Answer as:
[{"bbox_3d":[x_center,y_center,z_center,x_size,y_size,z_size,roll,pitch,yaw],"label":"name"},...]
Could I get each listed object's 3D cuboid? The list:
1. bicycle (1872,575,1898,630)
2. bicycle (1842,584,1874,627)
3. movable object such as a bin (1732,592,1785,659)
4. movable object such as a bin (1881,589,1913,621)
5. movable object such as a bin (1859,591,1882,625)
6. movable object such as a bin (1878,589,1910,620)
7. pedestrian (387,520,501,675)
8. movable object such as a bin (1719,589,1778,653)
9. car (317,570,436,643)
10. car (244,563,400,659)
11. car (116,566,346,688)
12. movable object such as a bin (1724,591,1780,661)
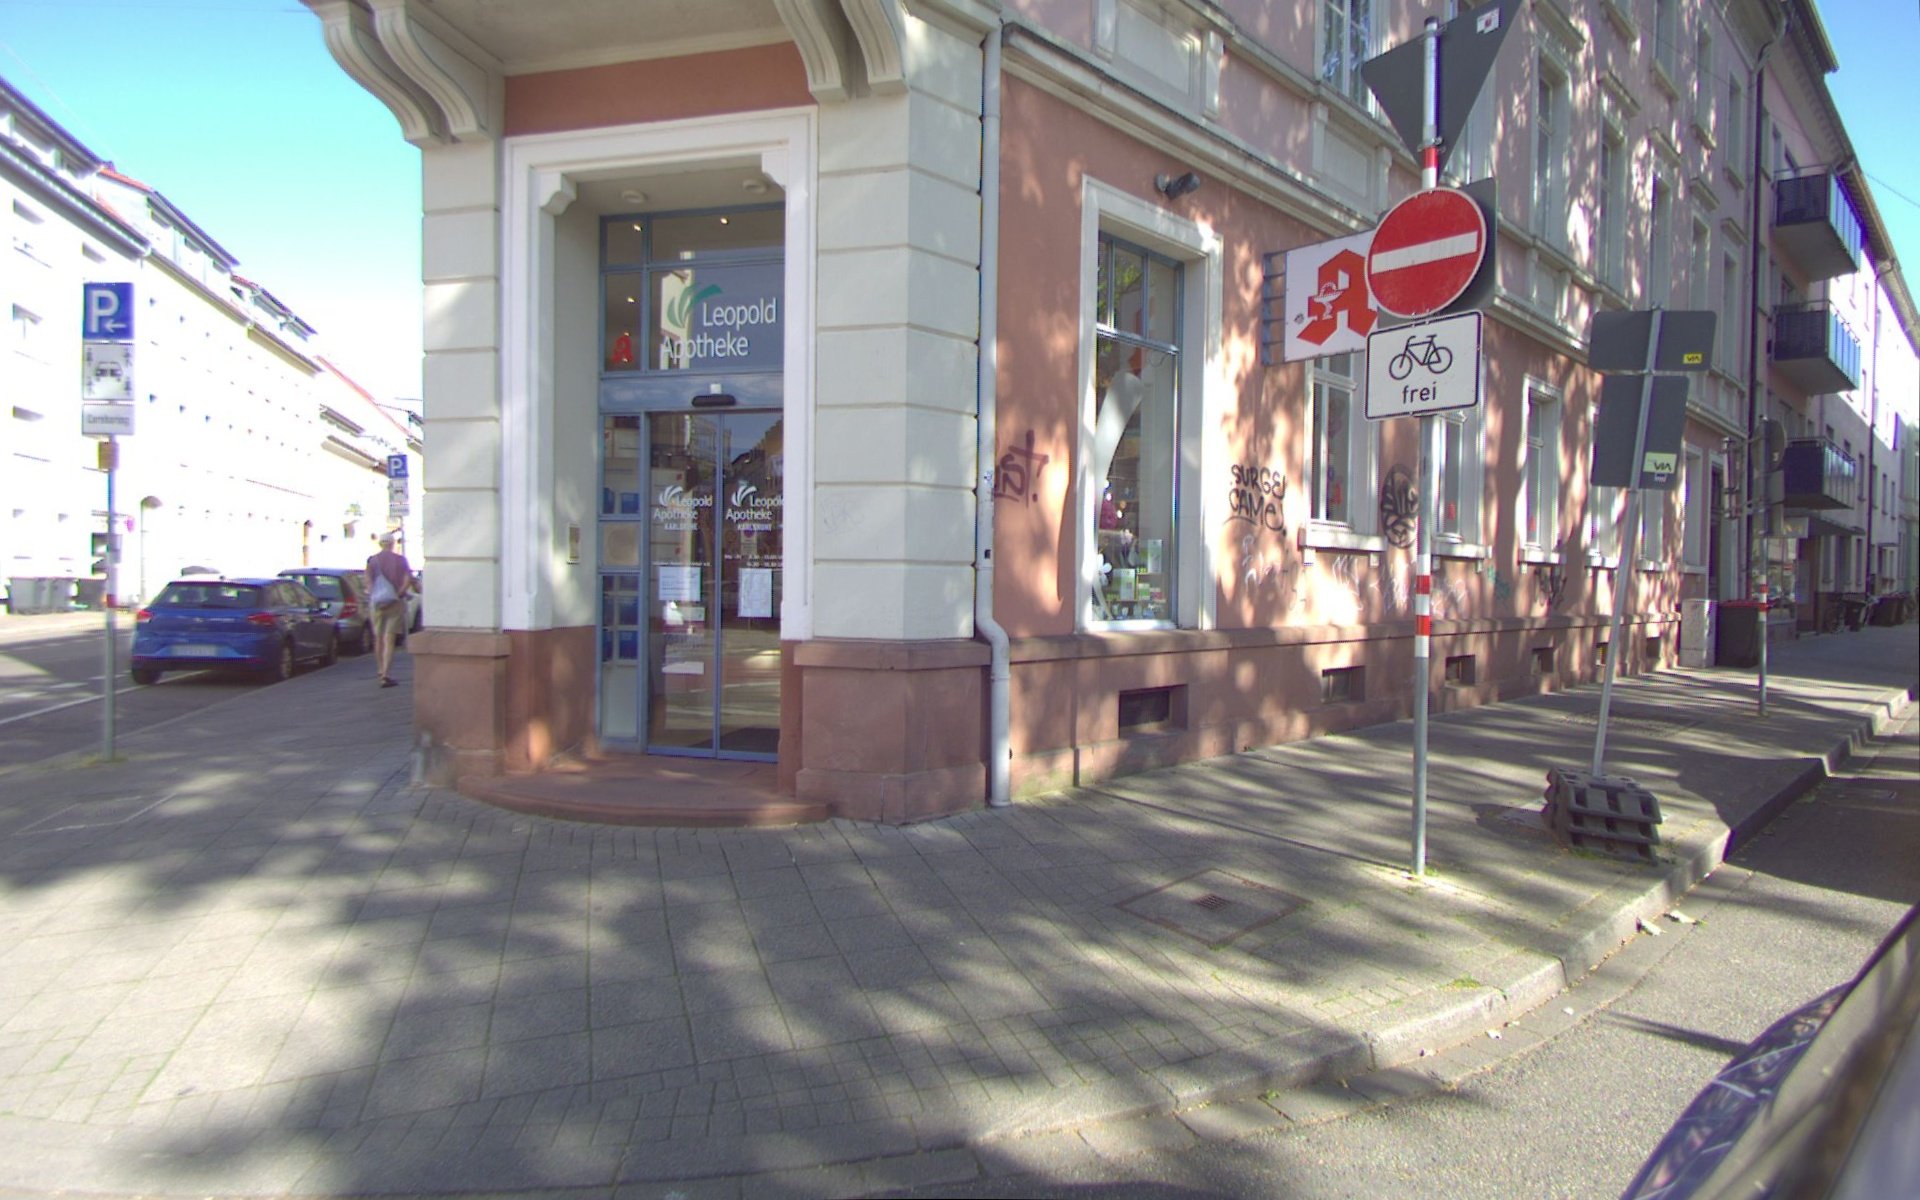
[{"bbox_3d":[30.303,0.077,33.145,2.070,1.757,0.402,-1,1,-42],"label":"bicycle"},{"bbox_3d":[24.783,0.133,27.912,1.990,1.164,0.402,-1,1,-42],"label":"bicycle"},{"bbox_3d":[13.548,0.424,17.176,0.602,1.071,0.570,0,4,-43],"label":"movable object such as a bin"},{"bbox_3d":[32.069,0.160,34.630,0.537,1.014,0.716,0,4,-43],"label":"movable object such as a bin"},{"bbox_3d":[26.622,0.239,29.581,0.297,0.951,0.415,0,4,-43],"label":"movable object such as a bin"},{"bbox_3d":[31.624,0.145,34.275,0.537,1.014,0.716,0,4,-43],"label":"movable object such as a bin"},{"bbox_3d":[-6.286,-0.048,12.367,0.743,1.784,0.826,-1,6,20],"label":"pedestrian"},{"bbox_3d":[14.563,0.374,18.704,0.608,1.097,0.717,0,4,-43],"label":"movable object such as a bin"},{"bbox_3d":[-13.308,0.097,23.272,1.671,1.451,3.648,3,2,-19],"label":"car"},{"bbox_3d":[-11.919,0.133,19.144,1.671,1.556,3.648,3,1,-19],"label":"car"},{"bbox_3d":[-10.234,0.300,14.525,1.671,1.451,3.648,3,2,-19],"label":"car"},{"bbox_3d":[13.101,0.416,16.739,0.643,1.097,0.570,0,4,-43],"label":"movable object such as a bin"}]
